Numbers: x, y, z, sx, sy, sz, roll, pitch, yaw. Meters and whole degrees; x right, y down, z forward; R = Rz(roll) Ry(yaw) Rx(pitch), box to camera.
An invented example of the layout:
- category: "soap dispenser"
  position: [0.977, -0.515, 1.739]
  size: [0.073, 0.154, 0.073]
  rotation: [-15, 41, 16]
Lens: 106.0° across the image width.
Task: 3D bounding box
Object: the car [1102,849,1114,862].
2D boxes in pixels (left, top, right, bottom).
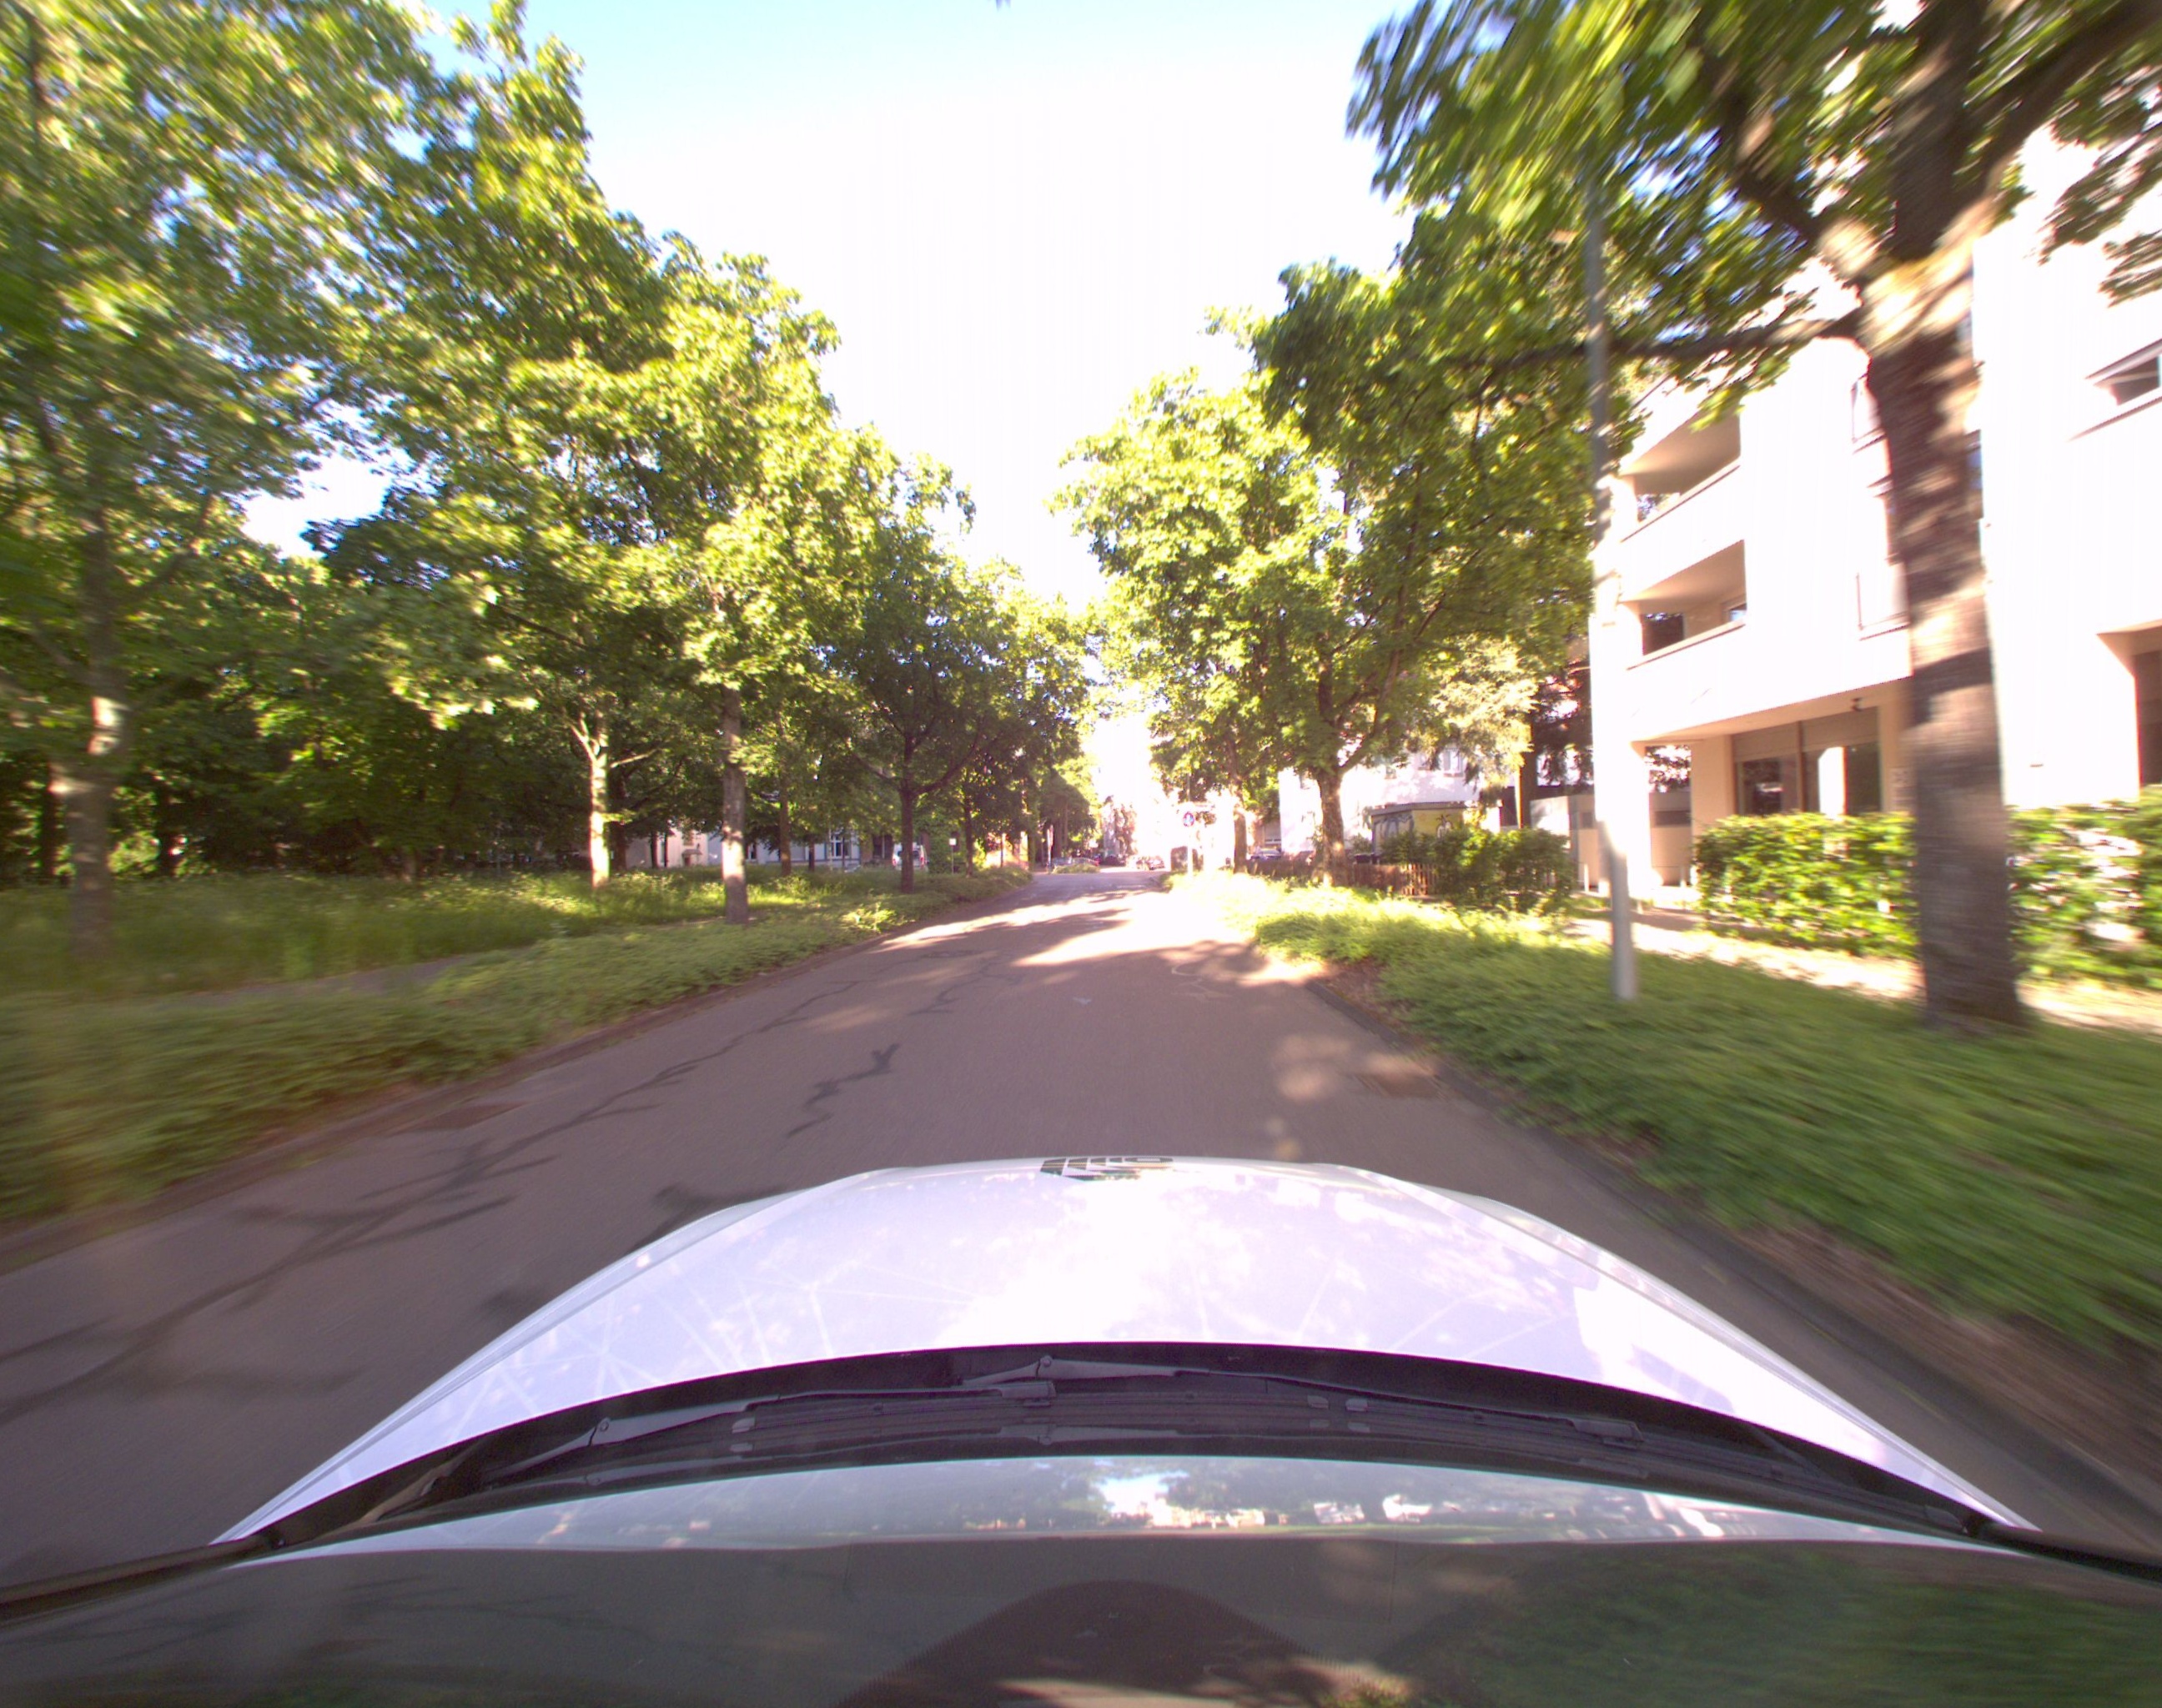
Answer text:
- category: "car"
  position: [4.340, 0.300, 132.613]
  size: [1.806, 2.050, 3.998]
  rotation: [0, 0, -1]

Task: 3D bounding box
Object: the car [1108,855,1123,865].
- category: "car"
  position: [4.869, 0.845, 115.910]
  size: [1.806, 1.501, 3.998]
  rotation: [0, 0, -1]

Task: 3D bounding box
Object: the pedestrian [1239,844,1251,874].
- category: "pedestrian"
  position: [10.412, 0.310, 51.692]
  size: [0.614, 1.870, 0.694]
  rotation: [0, 0, -5]

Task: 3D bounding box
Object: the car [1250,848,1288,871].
- category: "car"
  position: [13.563, 0.412, 58.865]
  size: [1.986, 1.585, 3.641]
  rotation: [-1, 0, 2]

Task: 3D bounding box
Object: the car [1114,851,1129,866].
- category: "car"
  position: [5.349, 0.590, 107.707]
  size: [1.806, 1.925, 3.998]
  rotation: [0, 0, -1]

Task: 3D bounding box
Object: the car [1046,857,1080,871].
- category: "car"
  position: [-2.002, 1.078, 88.472]
  size: [3.582, 1.510, 1.497]
  rotation: [0, 0, -6]

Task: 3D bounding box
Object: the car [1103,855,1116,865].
- category: "car"
  position: [4.296, 0.894, 122.565]
  size: [1.806, 1.501, 3.998]
  rotation: [0, 0, -1]

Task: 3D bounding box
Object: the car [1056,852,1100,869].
- category: "car"
  position: [-0.303, 0.603, 77.193]
  size: [3.981, 1.501, 1.813]
  rotation: [0, 0, -6]

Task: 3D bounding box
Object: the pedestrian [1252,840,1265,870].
- category: "pedestrian"
  position: [11.235, 0.067, 51.424]
  size: [0.614, 1.870, 0.694]
  rotation: [0, 0, -5]

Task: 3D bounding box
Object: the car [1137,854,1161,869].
- category: "car"
  position: [7.087, 0.782, 85.253]
  size: [1.989, 1.574, 3.996]
  rotation: [0, 0, -2]

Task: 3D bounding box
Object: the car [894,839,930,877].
- category: "car"
  position: [-11.596, 0.265, 56.090]
  size: [1.991, 2.508, 3.991]
  rotation: [-1, 0, -6]

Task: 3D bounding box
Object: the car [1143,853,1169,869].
- category: "car"
  position: [7.239, 0.678, 79.004]
  size: [1.808, 1.501, 3.993]
  rotation: [-2, 0, -5]

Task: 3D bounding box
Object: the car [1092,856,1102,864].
- category: "car"
  position: [2.940, 1.062, 149.714]
  size: [1.806, 1.501, 3.998]
  rotation: [0, 0, -1]
